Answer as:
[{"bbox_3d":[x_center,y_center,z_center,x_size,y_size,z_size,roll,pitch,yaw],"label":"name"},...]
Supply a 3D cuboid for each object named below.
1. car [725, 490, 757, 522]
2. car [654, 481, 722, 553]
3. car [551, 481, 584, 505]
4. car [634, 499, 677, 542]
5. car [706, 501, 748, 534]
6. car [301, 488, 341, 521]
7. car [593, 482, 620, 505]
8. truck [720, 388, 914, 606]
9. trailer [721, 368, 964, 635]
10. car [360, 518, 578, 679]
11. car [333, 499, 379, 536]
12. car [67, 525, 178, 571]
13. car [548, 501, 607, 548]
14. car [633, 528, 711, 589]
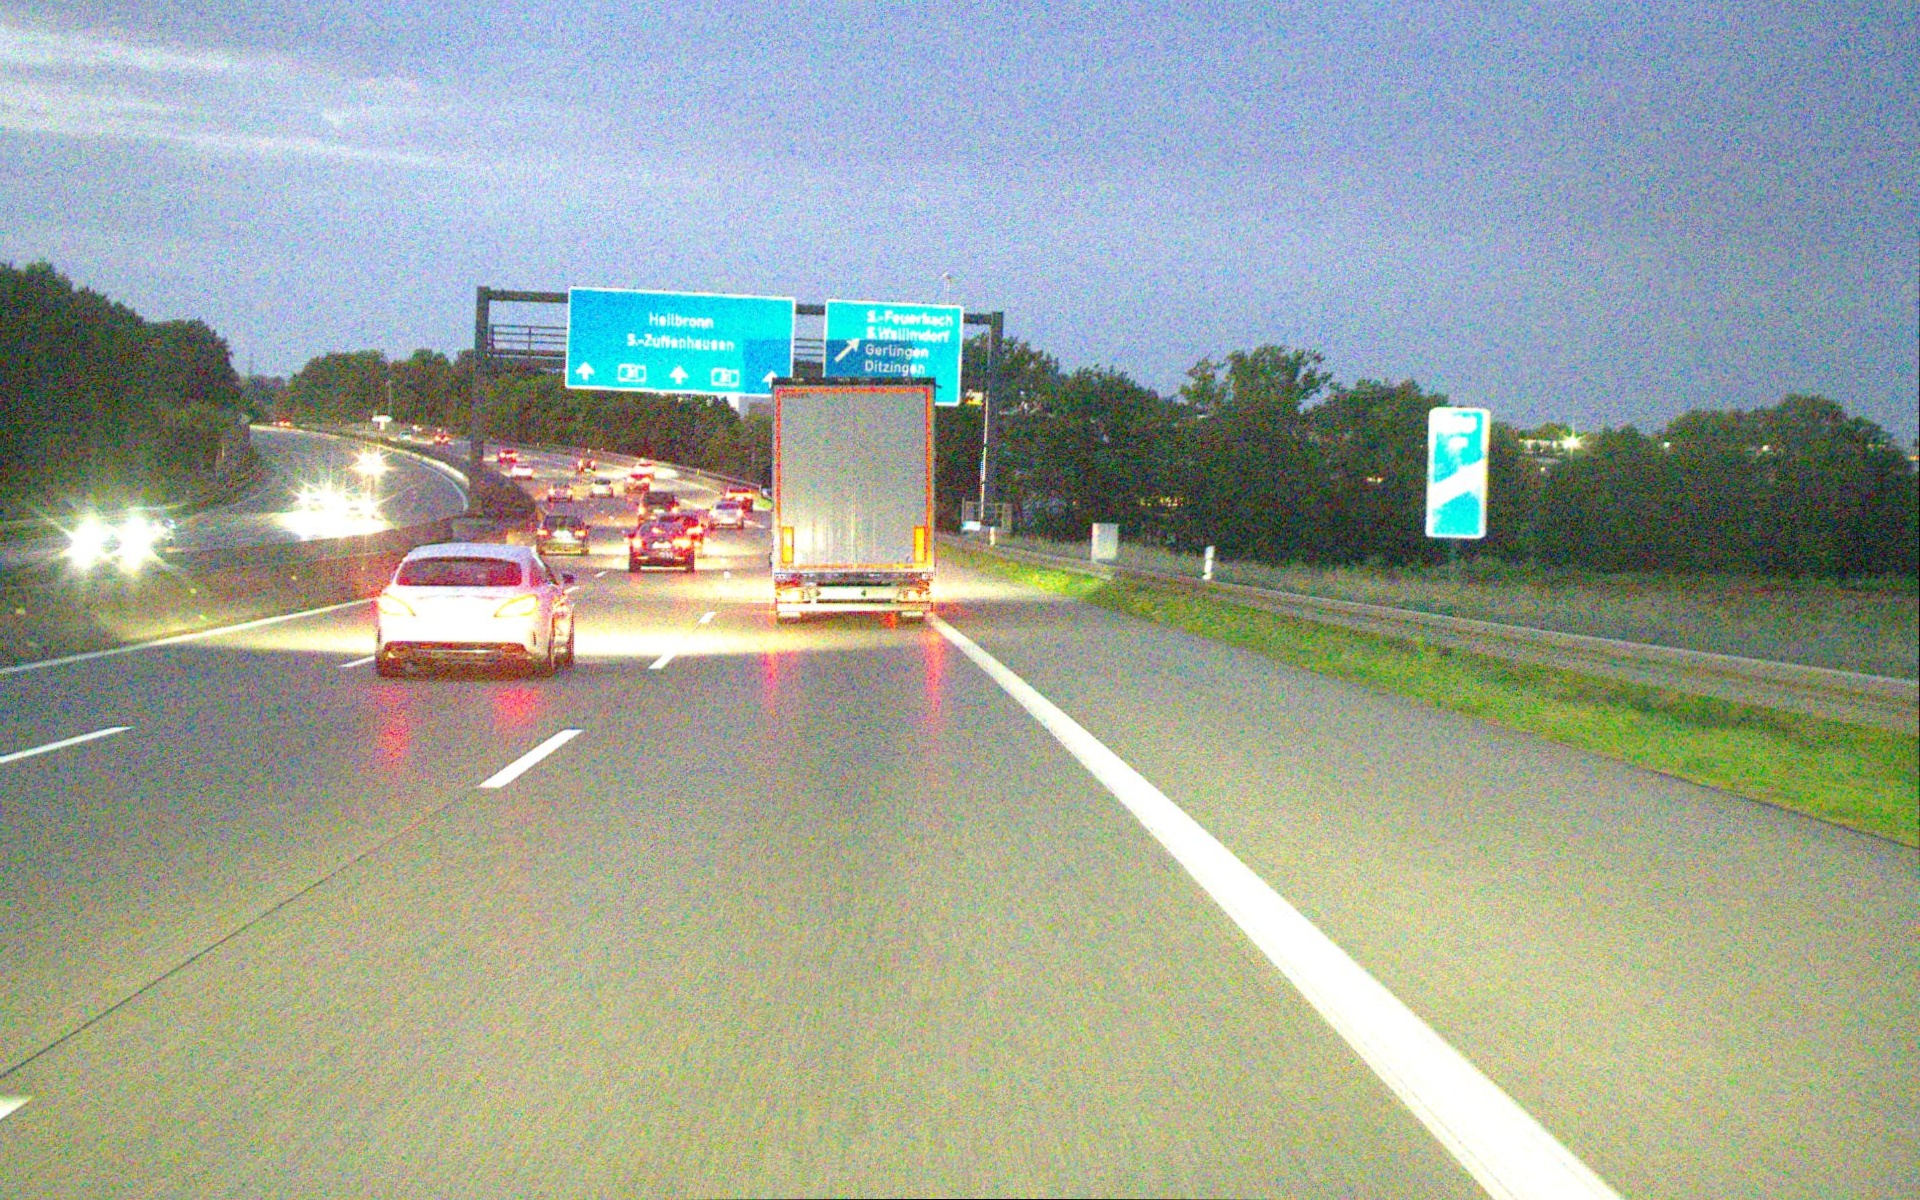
[{"bbox_3d":[-14.287,-6.087,223.899,1.993,1.971,4.001,1,0,-4],"label":"car"},{"bbox_3d":[-9.414,-2.834,118.711,1.993,2.372,4.001,1,0,-9],"label":"car"},{"bbox_3d":[-28.172,-7.670,246.901,1.993,1.616,4.000,1,0,-2],"label":"car"},{"bbox_3d":[-15.003,-3.889,169.654,1.993,2.007,4.001,1,0,-4],"label":"car"},{"bbox_3d":[-11.832,-4.192,174.841,1.993,1.529,4.000,1,0,-2],"label":"car"},{"bbox_3d":[-39.456,-5.867,212.351,1.993,1.887,4.680,1,0,-5],"label":"car"},{"bbox_3d":[-26.766,-8.075,260.537,1.993,1.616,4.001,1,0,-5],"label":"car"},{"bbox_3d":[-2.876,-2.032,67.246,3.550,4.077,6.153,0,2,-5],"label":"truck"},{"bbox_3d":[-2.326,-1.791,60.422,3.549,4.102,15.067,0,2,-5],"label":"trailer"},{"bbox_3d":[-5.311,-0.029,37.720,1.906,1.609,4.804,1,0,-3],"label":"car"},{"bbox_3d":[-32.862,-4.493,187.271,1.875,1.887,5.058,1,0,-4],"label":"car"},{"bbox_3d":[-23.934,-1.479,98.438,2.059,1.221,5.234,1,0,-2],"label":"car"},{"bbox_3d":[-13.592,-2.658,122.314,1.761,1.569,4.577,1,0,-2],"label":"car"},{"bbox_3d":[-8.283,-1.195,99.263,2.065,1.680,4.577,1,0,-3],"label":"car"}]
